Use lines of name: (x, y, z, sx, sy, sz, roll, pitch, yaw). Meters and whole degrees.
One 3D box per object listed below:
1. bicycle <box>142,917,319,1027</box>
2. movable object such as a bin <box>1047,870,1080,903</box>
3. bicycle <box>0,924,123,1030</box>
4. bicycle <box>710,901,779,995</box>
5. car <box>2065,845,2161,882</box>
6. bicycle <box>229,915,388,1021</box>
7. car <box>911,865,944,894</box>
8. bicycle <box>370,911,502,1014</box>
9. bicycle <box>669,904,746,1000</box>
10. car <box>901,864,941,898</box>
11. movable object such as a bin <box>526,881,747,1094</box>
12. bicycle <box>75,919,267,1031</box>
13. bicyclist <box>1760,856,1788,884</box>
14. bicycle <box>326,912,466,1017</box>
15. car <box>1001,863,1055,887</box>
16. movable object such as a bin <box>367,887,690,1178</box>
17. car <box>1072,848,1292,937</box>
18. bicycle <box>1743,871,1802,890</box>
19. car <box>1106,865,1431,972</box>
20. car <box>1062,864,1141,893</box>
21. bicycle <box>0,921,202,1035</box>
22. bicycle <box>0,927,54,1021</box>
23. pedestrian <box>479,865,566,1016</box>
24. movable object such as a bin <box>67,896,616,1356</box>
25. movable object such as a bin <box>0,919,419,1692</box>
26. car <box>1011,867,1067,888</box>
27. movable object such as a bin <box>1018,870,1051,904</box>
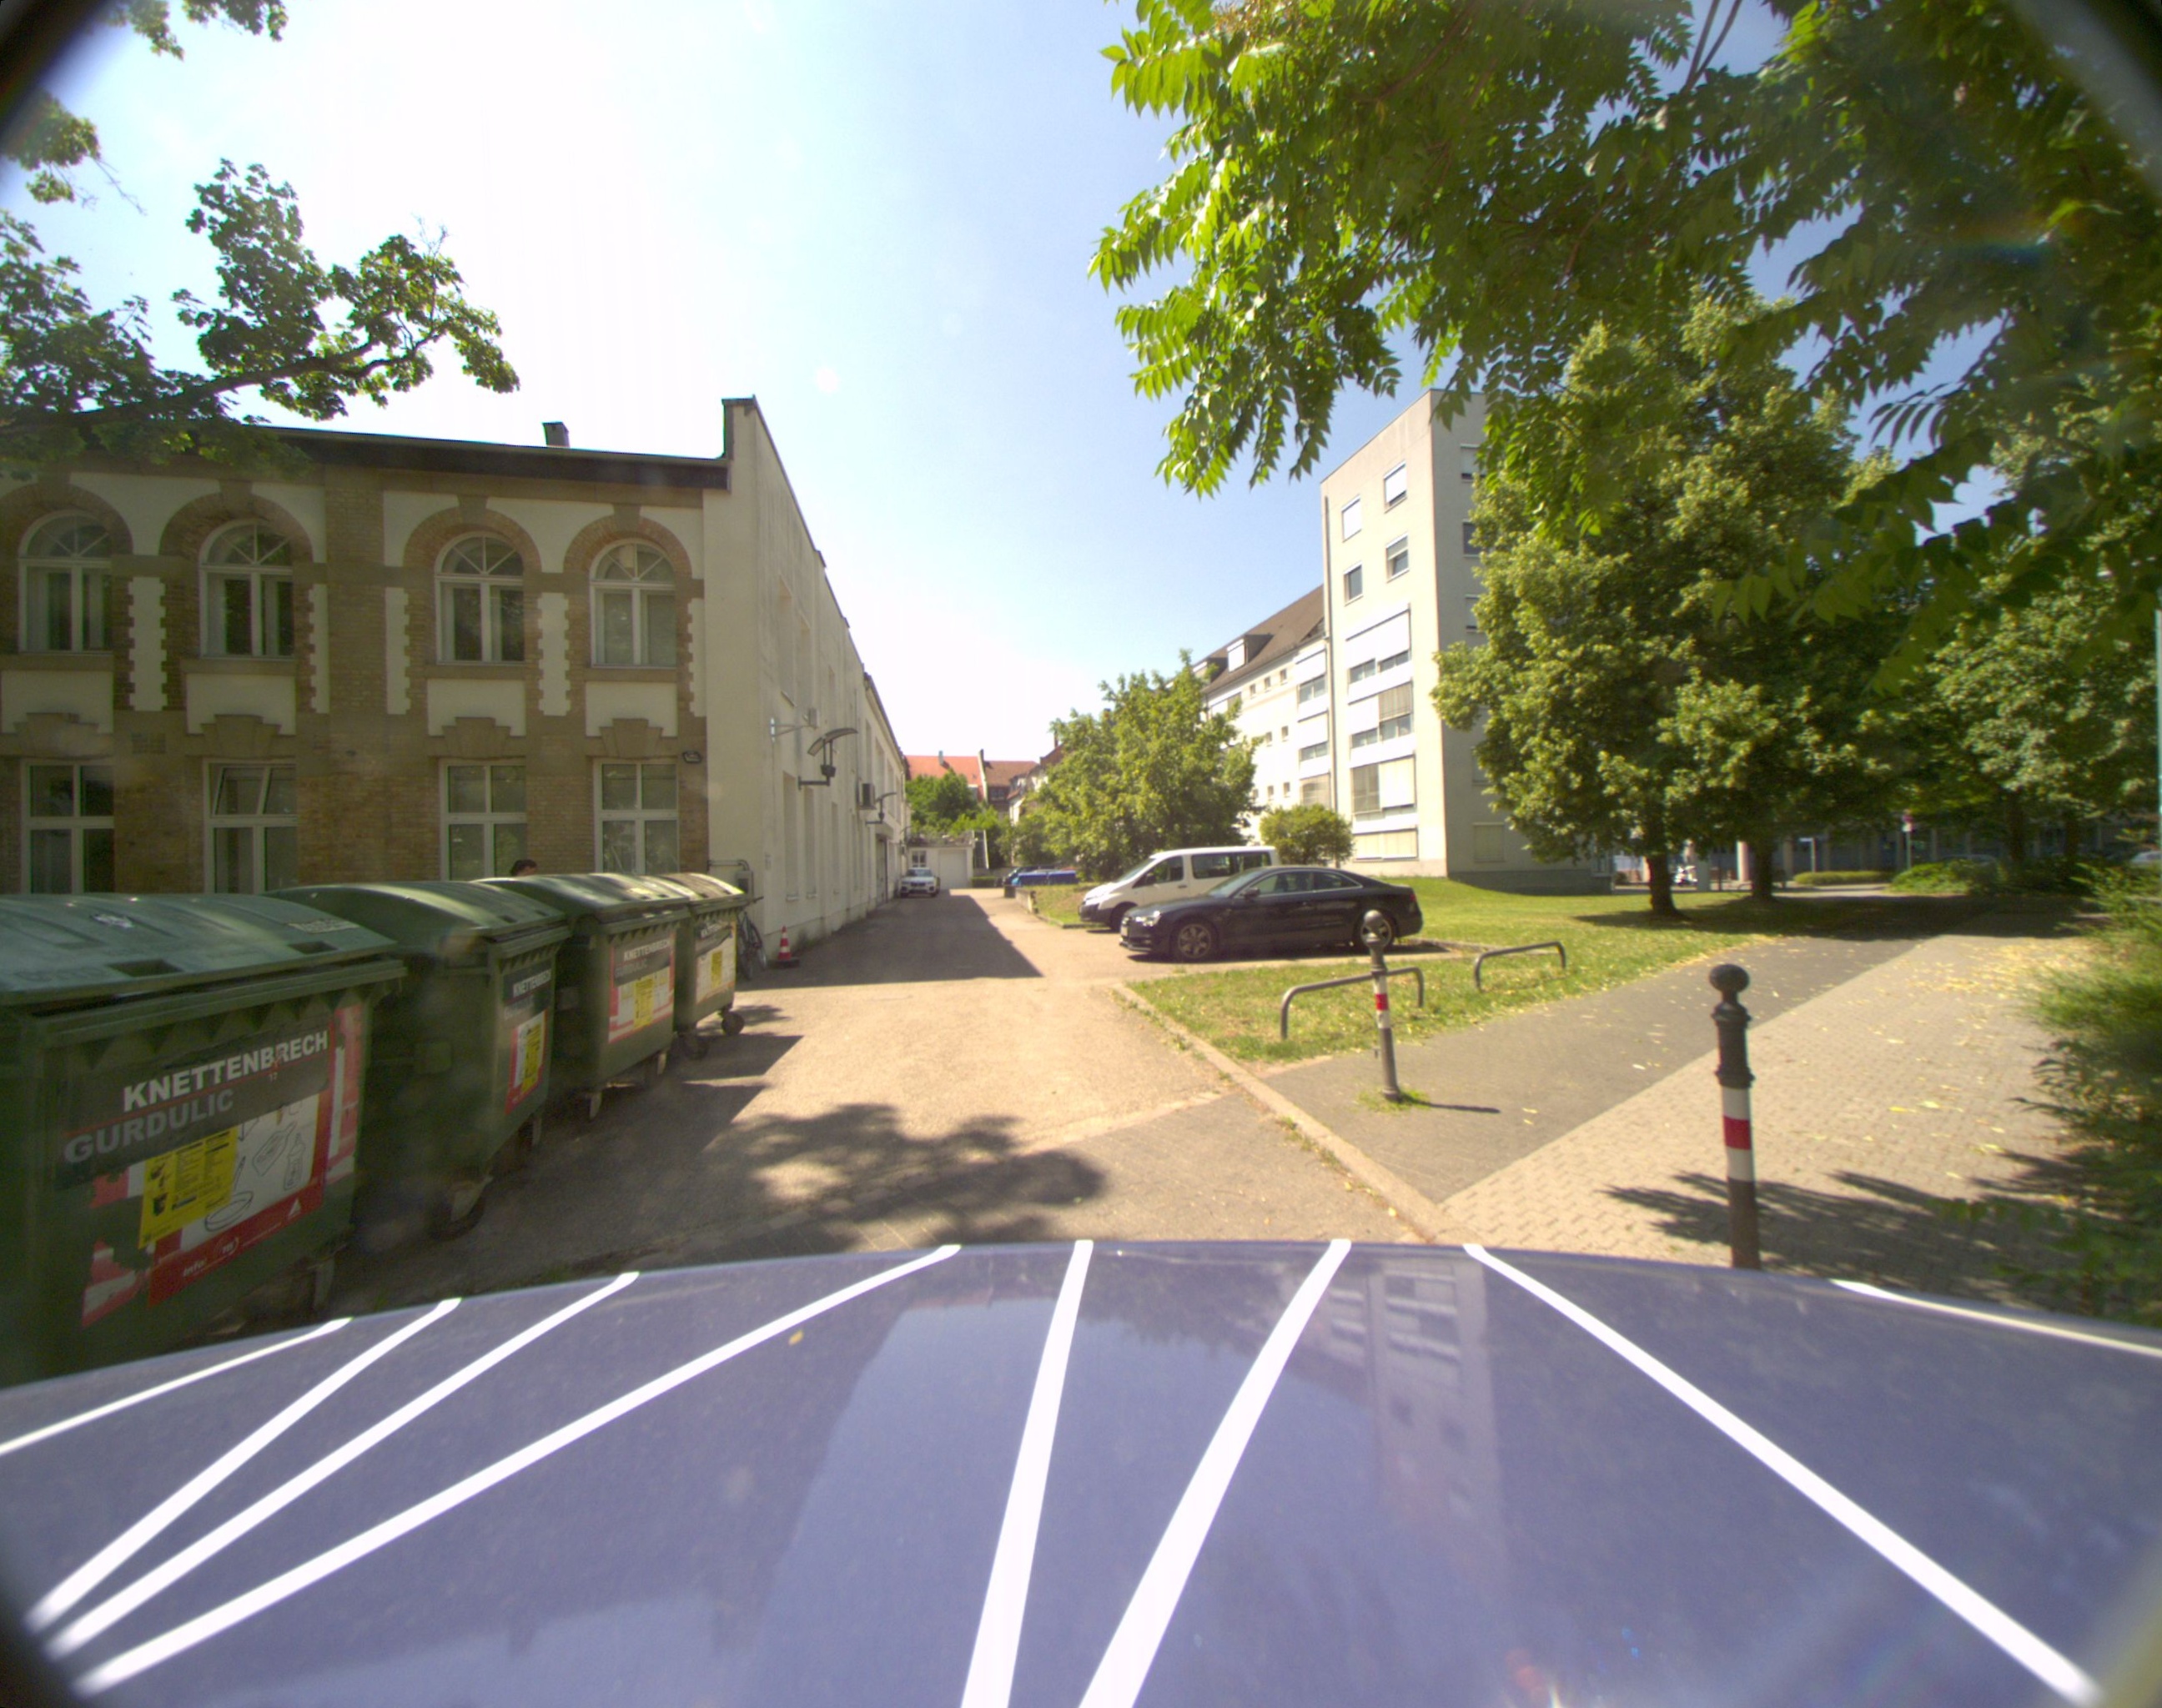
bicycle: (-10.589, 1.417, 9.558, 0.406, 1.095, 1.825, -1, 0, -9)
movable object such as a bin: (-0.769, 1.404, 33.497, 1.272, 1.380, 1.094, -1, 0, -9)
bicycle: (-12.574, 1.460, 8.981, 0.406, 1.095, 1.825, -1, 0, -9)
bicycle: (-4.676, 1.264, 10.659, 0.406, 1.095, 1.825, -1, 0, -9)
car: (47.705, 0.412, 33.816, 1.934, 1.600, 4.337, -1, 0, -12)
bicycle: (-9.838, 1.400, 9.774, 0.406, 1.095, 1.825, -1, 0, -9)
car: (-10.684, 1.741, 53.156, 2.013, 1.792, 4.723, -1, 0, -9)
bicycle: (-8.418, 1.369, 10.011, 0.406, 1.095, 1.825, -1, 0, -9)
bicycle: (-5.131, 1.296, 10.531, 0.406, 1.095, 1.825, -1, 0, -9)
car: (-9.315, 1.521, 44.467, 2.013, 1.792, 4.723, -1, 0, -9)
movable object such as a bin: (-3.497, 0.979, 6.169, 1.079, 1.449, 1.376, -1, 0, -8)
bicycle: (-11.146, 1.429, 9.403, 0.406, 1.095, 1.825, -1, 0, -9)
bicyclist: (25.850, 0.600, 28.358, 0.522, 1.038, 0.518, -1, -3, -7)
bicycle: (-8.861, 1.379, 9.919, 0.406, 1.095, 1.825, -1, 0, -9)
car: (-4.456, 1.749, 63.592, 4.227, 1.812, 2.007, -1, 0, -15)
movable object such as a bin: (-3.286, 0.968, 4.742, 1.079, 1.449, 1.376, -1, 0, -8)
car: (2.342, 0.868, 18.335, 4.863, 1.872, 2.066, -1, 0, -7)
bicycle: (25.804, 0.985, 28.351, 1.616, 0.637, 0.734, -1, -3, -8)
car: (2.750, 0.942, 11.816, 4.443, 1.371, 2.023, -1, -2, -7)
car: (1.225, 1.463, 45.680, 4.449, 1.559, 1.611, -1, 0, -15)
bicycle: (-11.843, 1.444, 9.244, 0.406, 1.095, 1.825, -1, 0, -9)
bicycle: (-13.196, 1.473, 8.777, 0.406, 1.095, 1.825, -1, 0, -9)
pedestrian: (-6.760, 1.017, 9.232, 0.552, 1.738, 0.689, -1, 0, -8)
movable object such as a bin: (-2.942, 0.954, 3.308, 1.079, 1.449, 1.376, -1, 0, -8)
movable object such as a bin: (-2.770, 0.959, 1.896, 1.079, 1.449, 1.376, -1, 0, -8)
car: (-3.357, 1.839, 60.801, 4.227, 1.559, 1.611, -1, 0, -15)
movable object such as a bin: (-2.047, 1.432, 33.258, 1.272, 1.380, 1.094, -1, 0, -9)
